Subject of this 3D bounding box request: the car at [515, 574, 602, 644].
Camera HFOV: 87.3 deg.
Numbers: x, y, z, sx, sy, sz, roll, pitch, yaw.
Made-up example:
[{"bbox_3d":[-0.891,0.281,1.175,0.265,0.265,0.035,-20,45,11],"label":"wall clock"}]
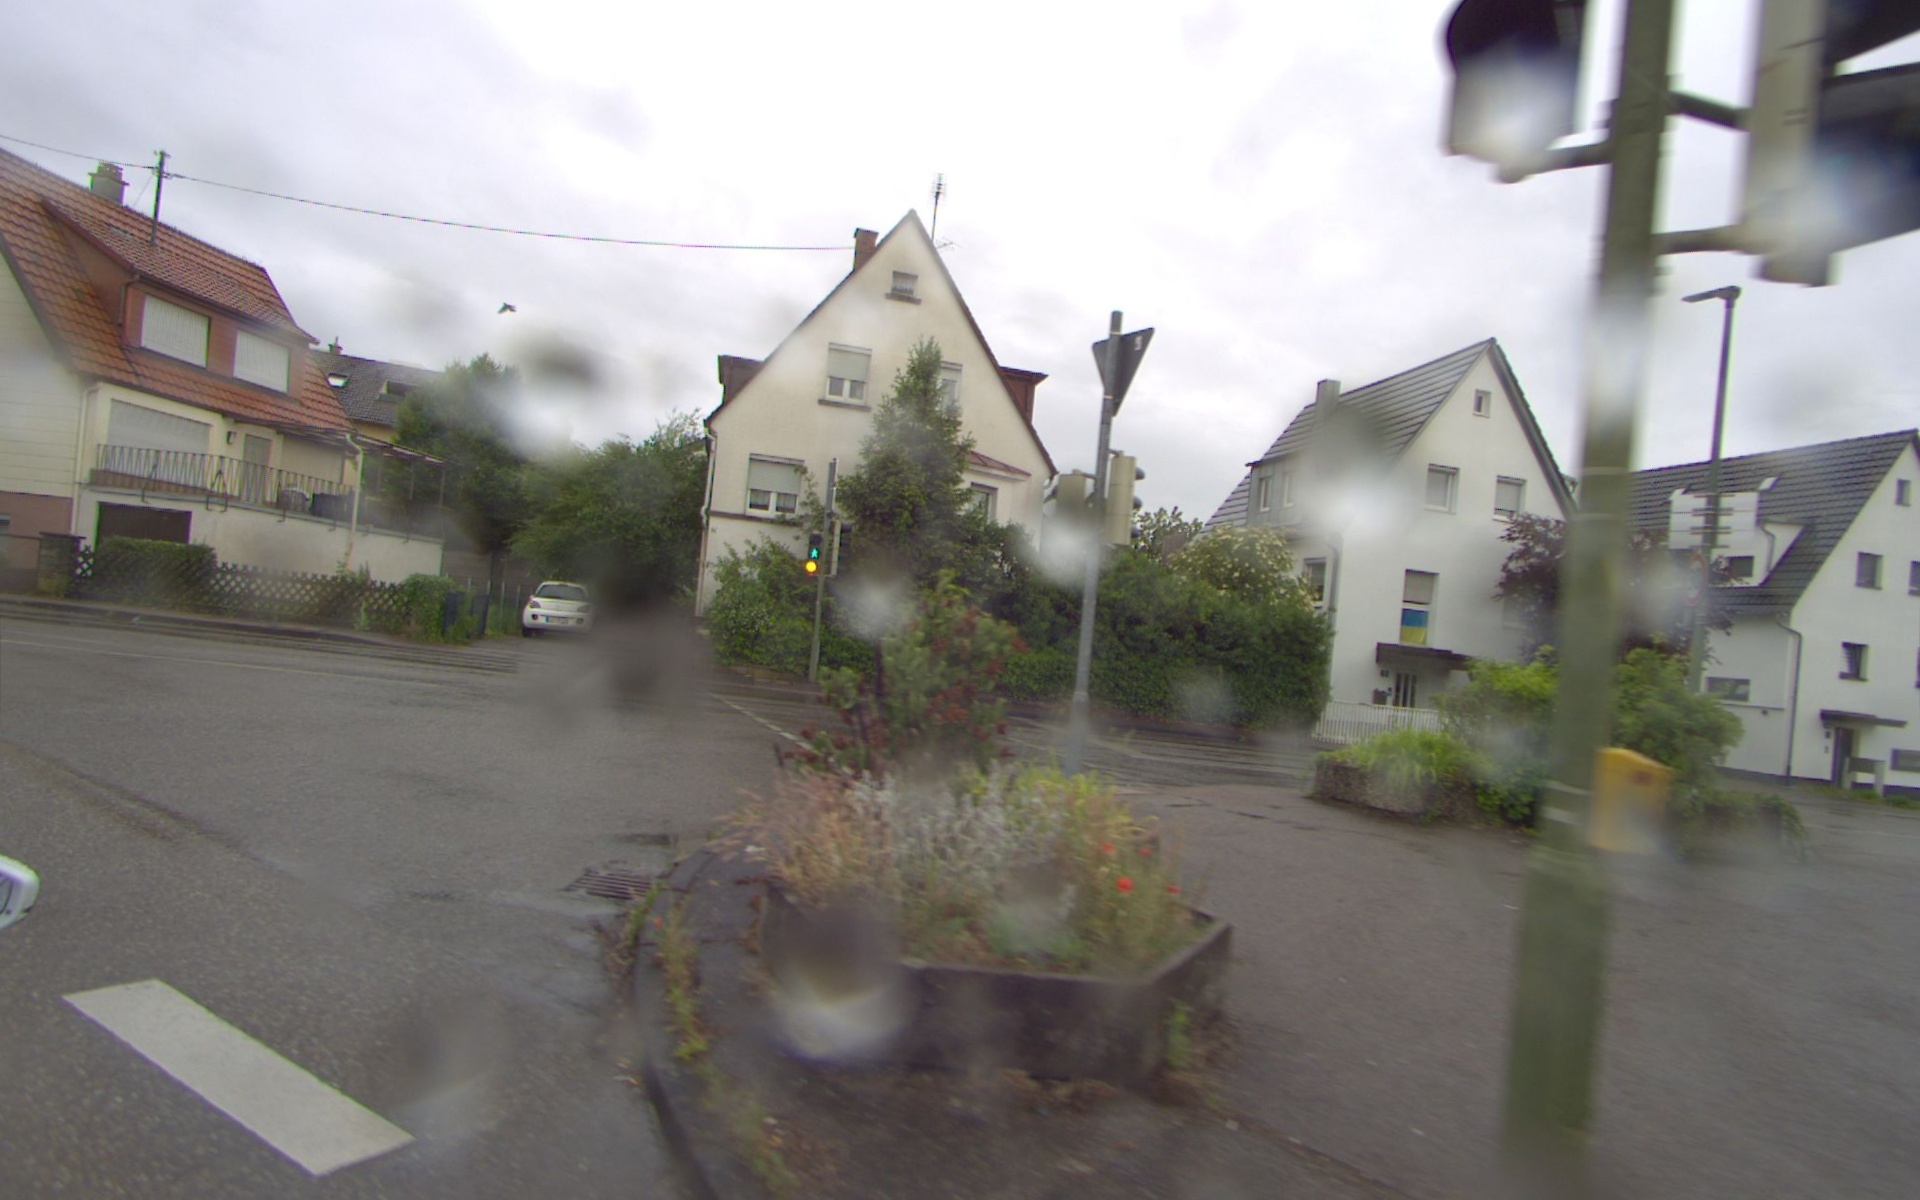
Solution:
[{"bbox_3d":[-10.598,0.202,26.552,1.826,1.514,3.724,7,-2,-22],"label":"car"}]
